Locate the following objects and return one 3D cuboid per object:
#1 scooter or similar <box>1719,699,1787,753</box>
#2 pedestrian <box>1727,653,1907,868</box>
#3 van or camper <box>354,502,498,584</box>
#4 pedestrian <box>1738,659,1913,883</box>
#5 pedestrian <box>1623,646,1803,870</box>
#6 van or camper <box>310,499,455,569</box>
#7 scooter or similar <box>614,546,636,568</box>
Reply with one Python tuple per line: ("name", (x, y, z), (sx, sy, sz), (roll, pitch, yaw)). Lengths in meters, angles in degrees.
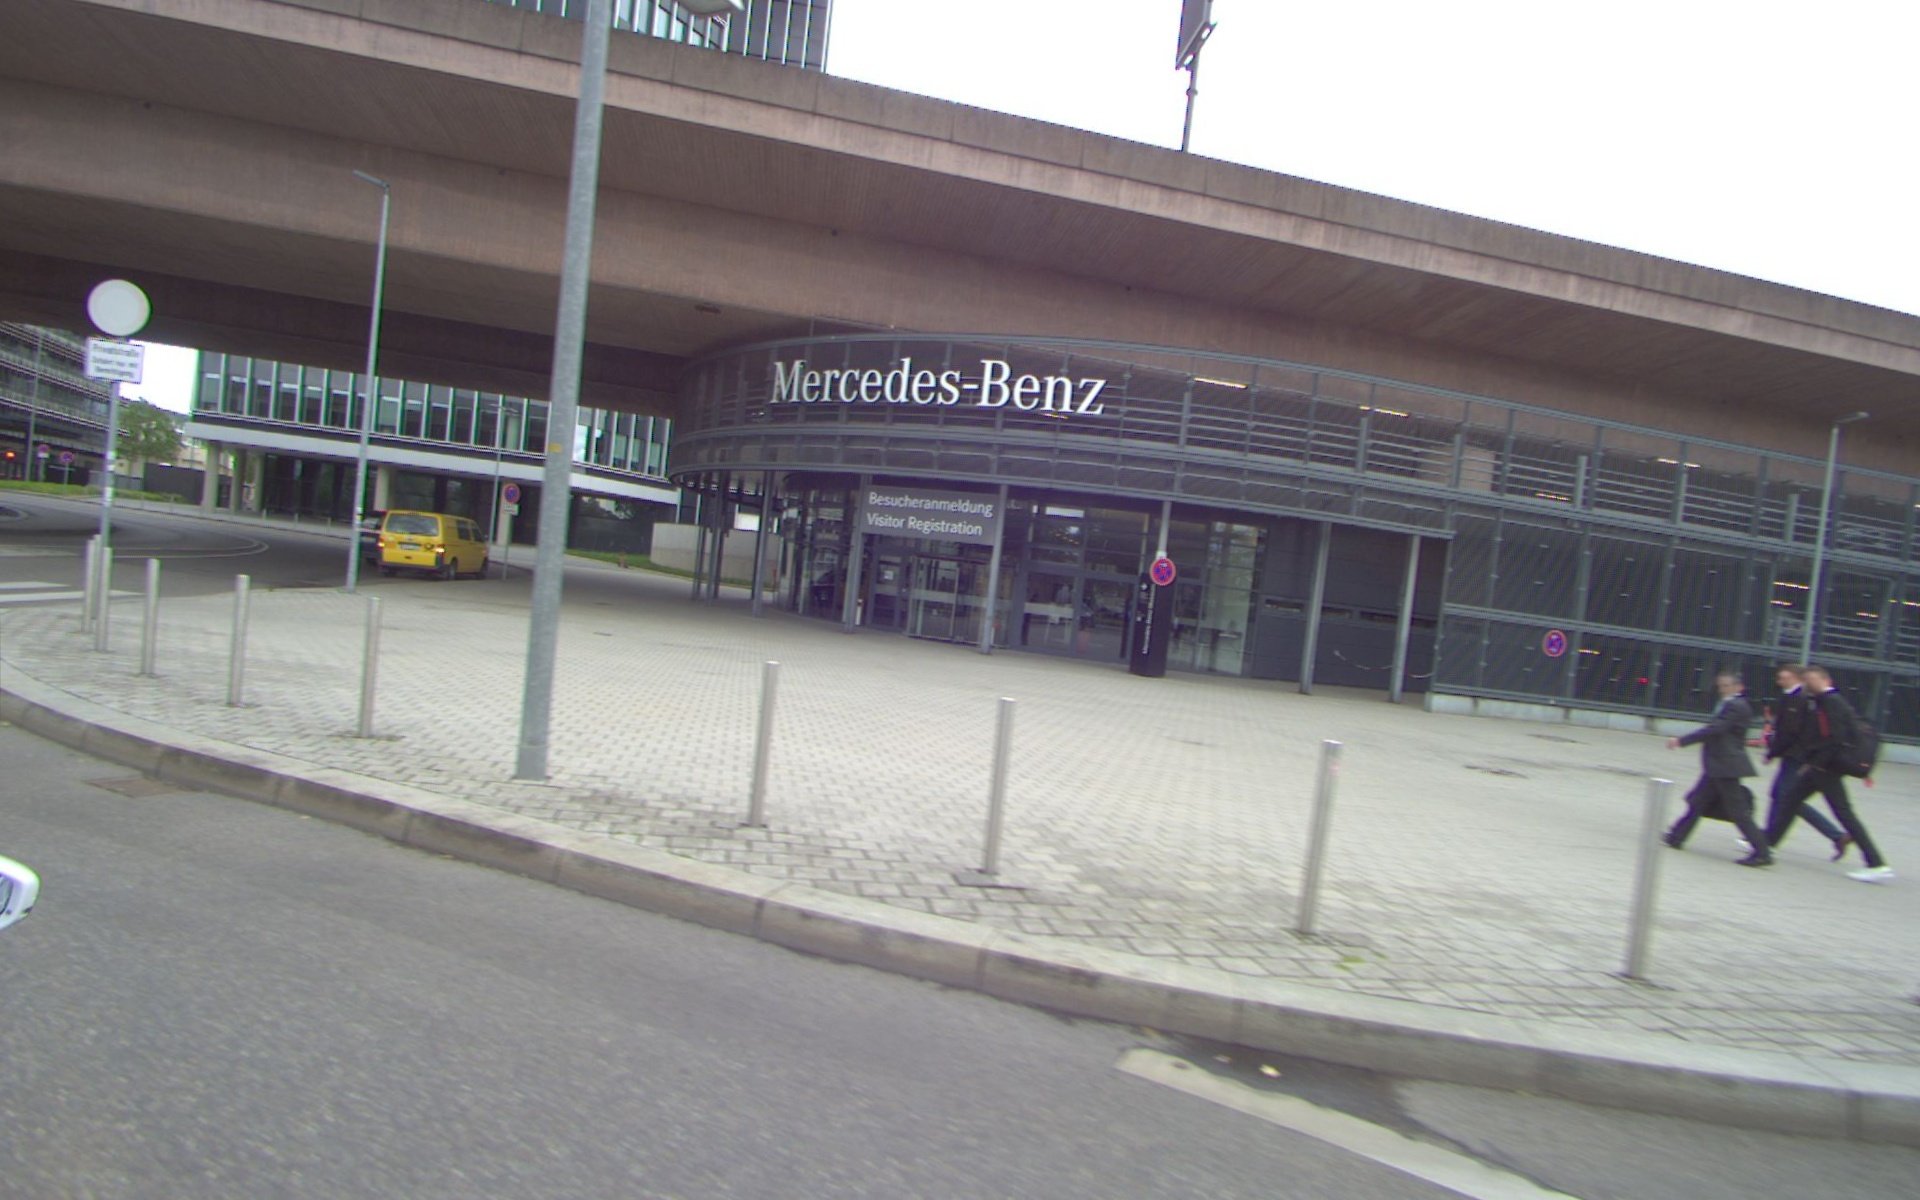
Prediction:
("scooter or similar", (19.577, 3.106, 24.835), (1.405, 1.137, 0.380), (8, 2, -13))
("pedestrian", (8.034, 1.493, 9.457), (0.854, 1.821, 0.778), (7, 2, -23))
("van or camper", (-16.037, -1.681, 30.527), (2.322, 2.025, 4.494), (7, 1, -9))
("pedestrian", (7.431, 1.443, 8.652), (0.779, 1.727, 0.765), (6, 3, -34))
("pedestrian", (6.448, 1.333, 8.629), (0.856, 1.727, 0.766), (6, 3, -31))
("van or camper", (-19.747, -2.175, 34.704), (2.115, 1.917, 4.896), (8, 1, -2))
("scooter or similar", (-19.060, -2.458, 57.251), (0.694, 1.119, 1.487), (6, 2, -34))
